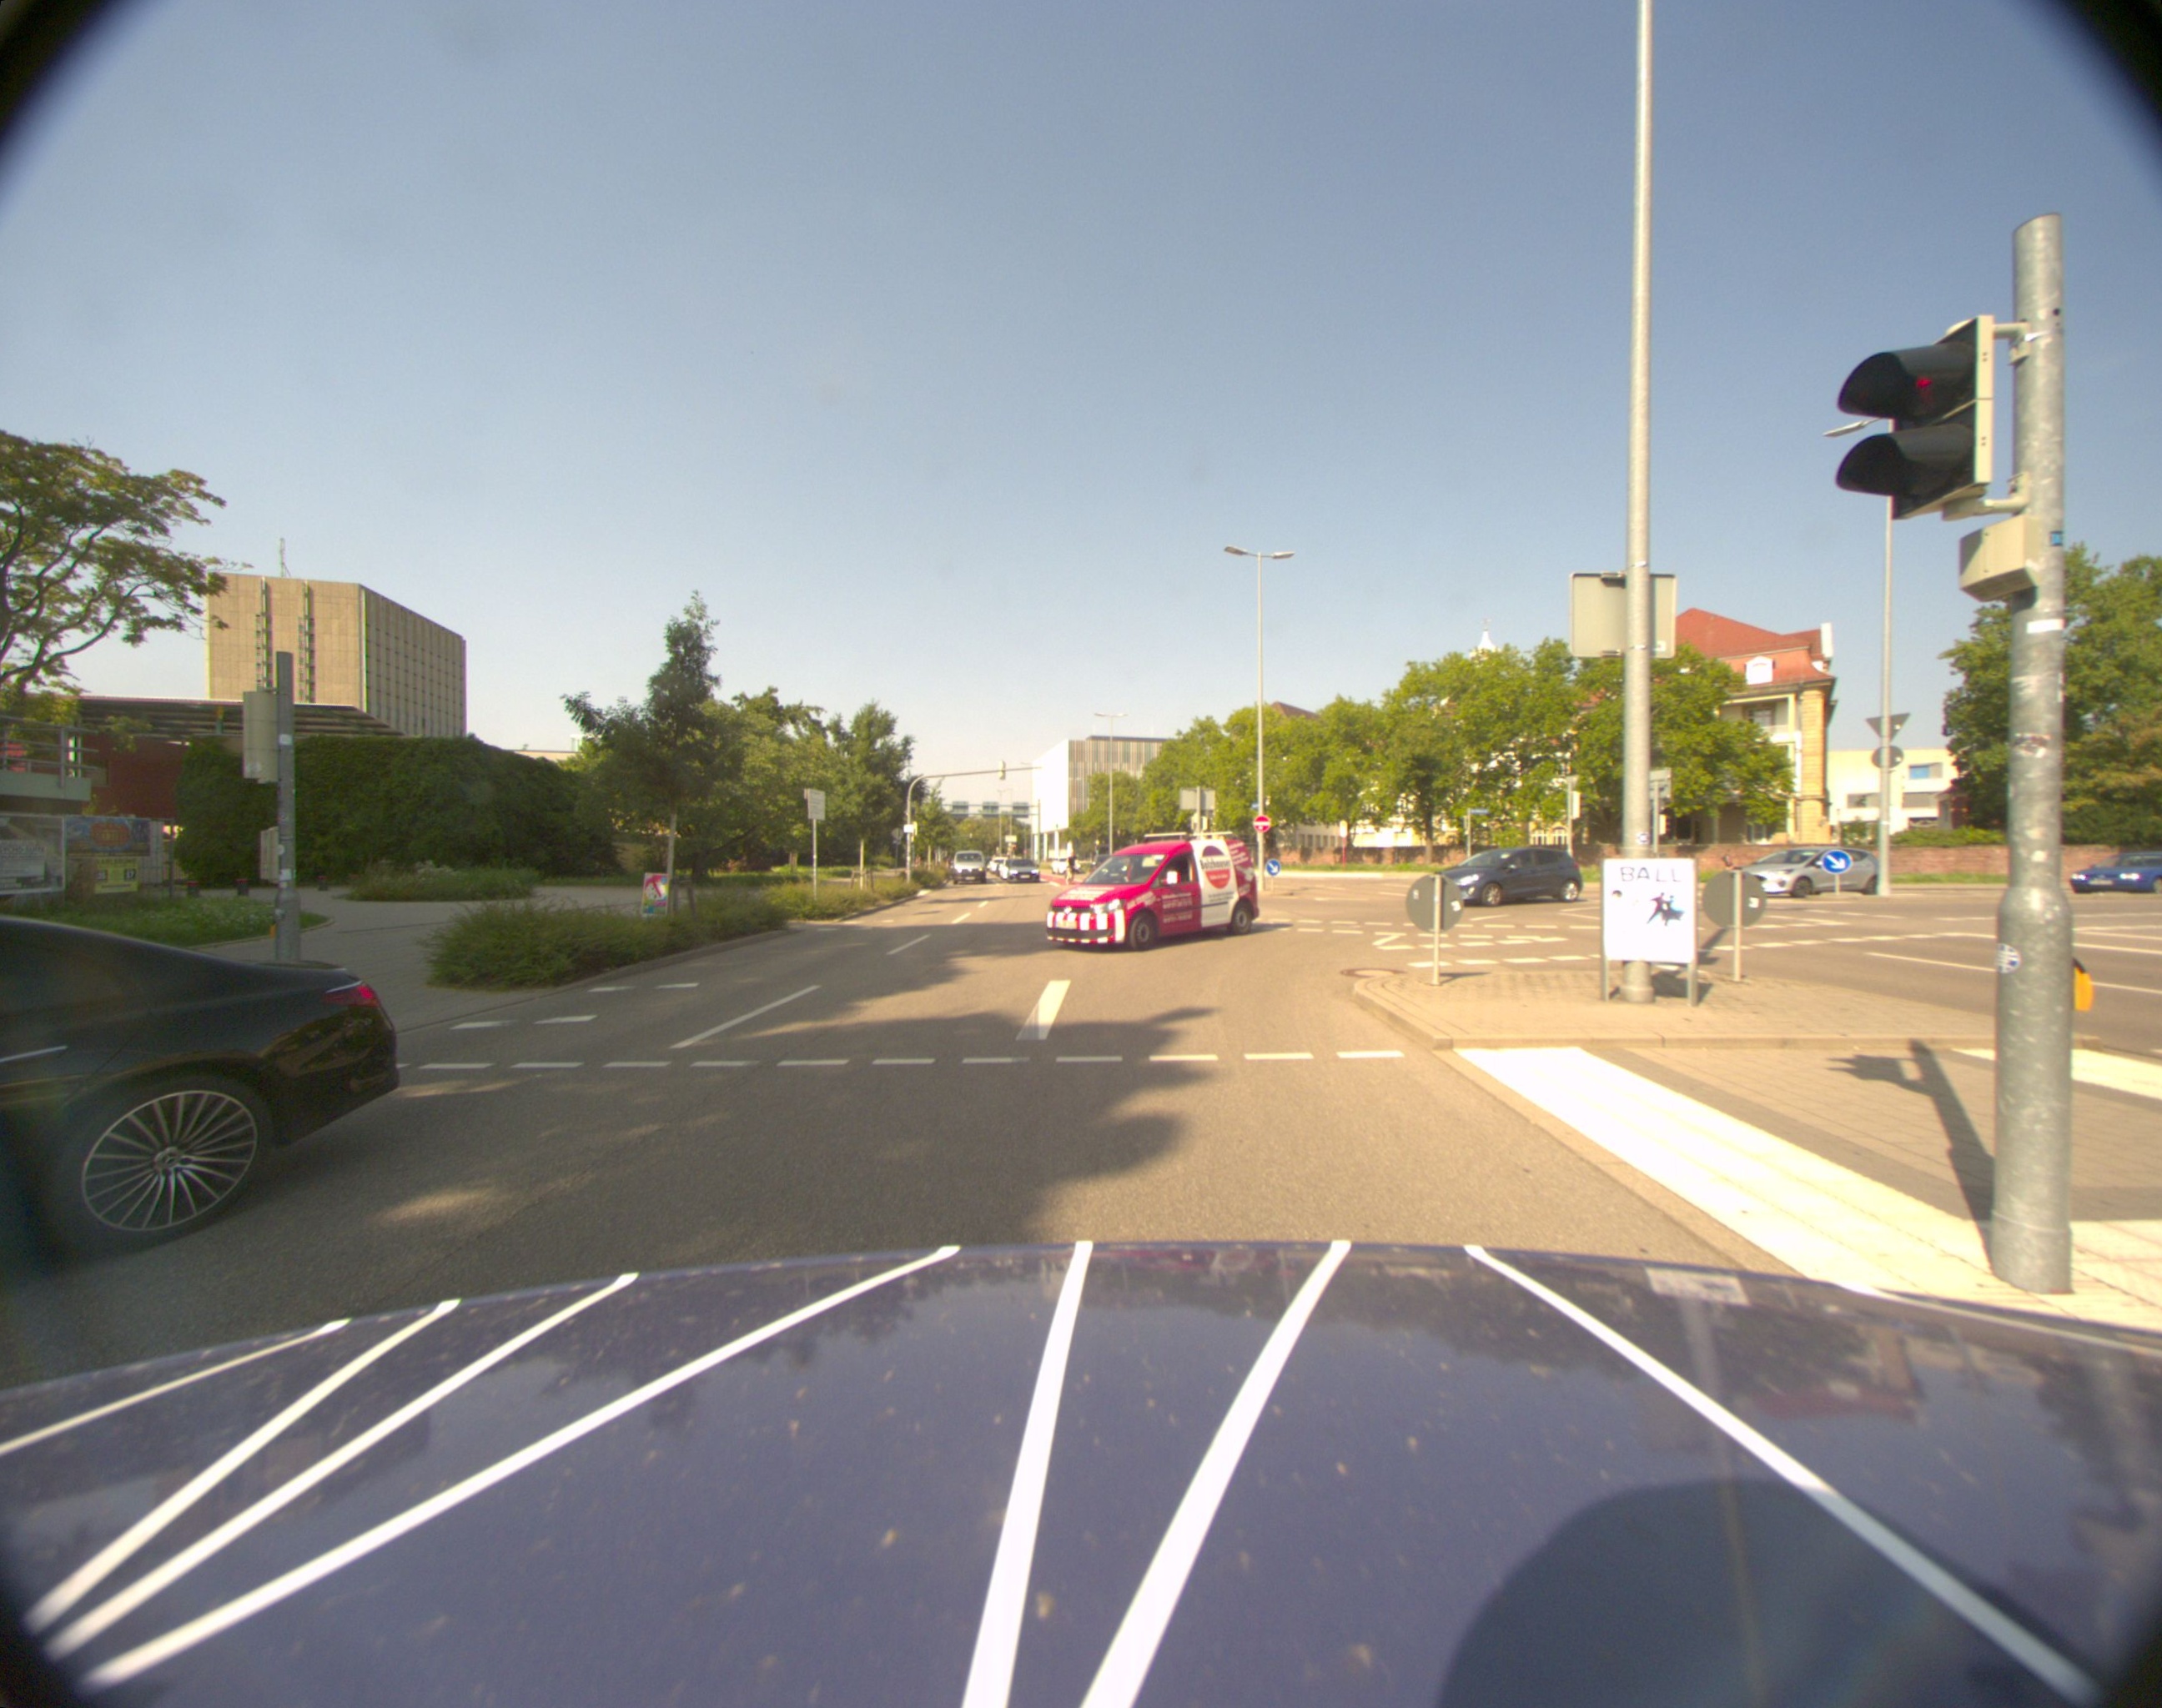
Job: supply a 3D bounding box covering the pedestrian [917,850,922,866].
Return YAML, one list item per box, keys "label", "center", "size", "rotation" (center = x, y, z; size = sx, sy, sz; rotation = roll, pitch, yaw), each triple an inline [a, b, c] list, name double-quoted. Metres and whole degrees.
- label: "pedestrian"
  center: [-19.043, 0.438, 89.507]
  size: [0.624, 1.835, 0.640]
  rotation: [0, 1, -10]

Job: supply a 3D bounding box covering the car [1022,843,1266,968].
- label: "car"
  center: [1.229, 0.747, 13.270]
  size: [4.286, 1.808, 1.733]
  rotation: [-2, 1, -42]

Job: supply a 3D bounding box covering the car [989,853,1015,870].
- label: "car"
  center: [-7.318, 0.655, 70.012]
  size: [1.933, 1.497, 4.290]
  rotation: [0, 0, -12]

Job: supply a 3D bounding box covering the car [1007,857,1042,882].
- label: "car"
  center: [-3.385, 0.866, 45.012]
  size: [1.911, 1.392, 4.917]
  rotation: [0, 0, -6]

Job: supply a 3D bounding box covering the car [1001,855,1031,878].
- label: "car"
  center: [-4.499, 0.829, 52.359]
  size: [2.000, 1.497, 4.433]
  rotation: [0, 0, -6]

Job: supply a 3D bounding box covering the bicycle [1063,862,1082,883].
- label: "bicycle"
  center: [-0.479, 0.991, 40.702]
  size: [0.770, 1.046, 1.773]
  rotation: [0, 1, -8]

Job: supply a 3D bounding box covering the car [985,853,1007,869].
- label: "car"
  center: [-9.163, 0.713, 81.620]
  size: [1.933, 1.650, 4.290]
  rotation: [0, 0, -12]

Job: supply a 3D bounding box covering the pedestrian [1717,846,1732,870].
- label: "pedestrian"
  center: [44.879, 0.288, 52.977]
  size: [0.596, 1.673, 0.716]
  rotation: [-1, 1, -43]

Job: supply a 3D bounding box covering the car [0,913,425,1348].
- label: "car"
  center: [-4.921, 1.075, 1.914]
  size: [1.823, 1.431, 4.877]
  rotation: [-1, 0, 9]

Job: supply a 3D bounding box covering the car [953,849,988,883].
- label: "car"
  center: [-6.425, 0.667, 44.532]
  size: [1.847, 1.864, 4.970]
  rotation: [0, 0, -6]

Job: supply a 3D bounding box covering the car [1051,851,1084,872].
- label: "car"
  center: [-1.148, 0.607, 63.337]
  size: [1.933, 1.650, 4.290]
  rotation: [0, 0, -12]

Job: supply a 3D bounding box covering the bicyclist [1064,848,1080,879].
- label: "bicyclist"
  center: [-0.472, 0.496, 40.657]
  size: [0.749, 1.626, 0.875]
  rotation: [0, 0, -8]

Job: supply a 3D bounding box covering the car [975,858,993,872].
- label: "car"
  center: [-12.226, 1.349, 95.806]
  size: [1.933, 1.650, 4.290]
  rotation: [0, 0, -12]

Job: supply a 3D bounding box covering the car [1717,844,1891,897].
- label: "car"
  center: [20.697, 0.448, 21.813]
  size: [3.861, 1.425, 1.719]
  rotation: [0, 0, -11]

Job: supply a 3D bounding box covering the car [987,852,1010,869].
- label: "car"
  center: [-8.304, 0.641, 76.197]
  size: [1.933, 1.650, 4.290]
  rotation: [0, 0, -12]

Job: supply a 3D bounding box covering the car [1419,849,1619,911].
- label: "car"
  center: [11.157, 0.619, 19.464]
  size: [4.321, 1.419, 1.639]
  rotation: [-1, 1, -7]

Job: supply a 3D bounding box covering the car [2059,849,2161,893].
- label: "car"
  center: [34.346, 0.505, 24.608]
  size: [4.335, 1.321, 1.606]
  rotation: [0, 0, -13]

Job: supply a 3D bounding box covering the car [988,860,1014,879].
- label: "car"
  center: [-6.439, 1.220, 61.296]
  size: [2.000, 1.497, 4.433]
  rotation: [0, 0, -6]

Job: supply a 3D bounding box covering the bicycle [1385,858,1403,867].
- label: "bicycle"
  center: [29.325, 0.758, 71.107]
  size: [0.435, 0.830, 1.546]
  rotation: [0, 0, -37]

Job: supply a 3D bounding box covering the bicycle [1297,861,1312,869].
- label: "bicycle"
  center: [23.350, 1.141, 79.510]
  size: [0.435, 0.830, 1.546]
  rotation: [0, 0, -34]

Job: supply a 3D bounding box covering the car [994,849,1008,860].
- label: "car"
  center: [-15.535, 0.164, 147.269]
  size: [1.921, 2.001, 3.995]
  rotation: [0, -2, -19]

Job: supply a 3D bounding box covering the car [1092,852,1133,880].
- label: "car"
  center: [1.810, 0.645, 44.870]
  size: [1.853, 1.569, 4.712]
  rotation: [0, 0, -4]
